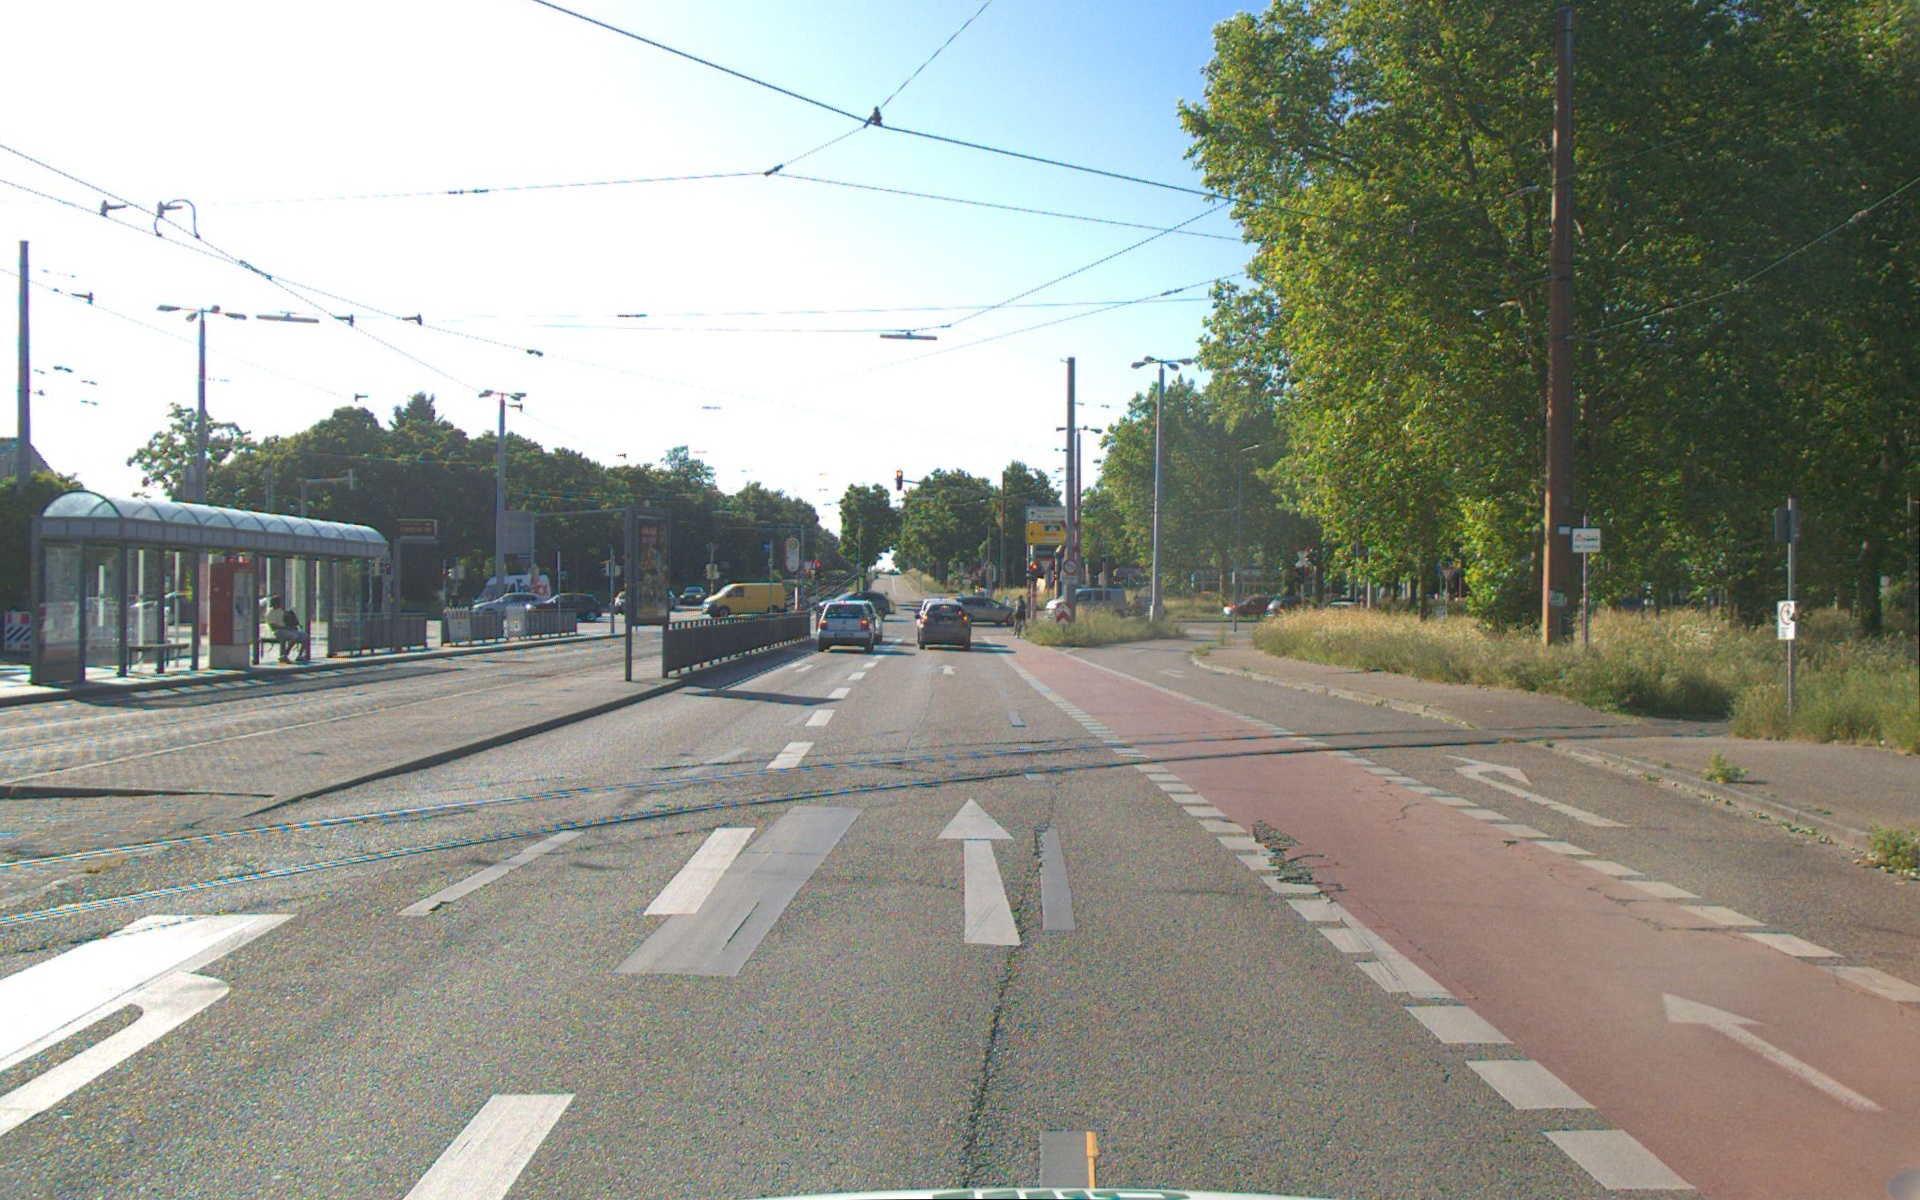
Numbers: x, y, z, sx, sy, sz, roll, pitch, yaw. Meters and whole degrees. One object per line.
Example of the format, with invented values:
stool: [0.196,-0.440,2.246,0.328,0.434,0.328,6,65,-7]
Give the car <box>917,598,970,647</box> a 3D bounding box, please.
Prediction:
car: [-0.567,0.705,53.645,1.635,1.487,3.585,1,0,-2]

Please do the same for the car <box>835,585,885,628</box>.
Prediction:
car: [-3.550,0.229,59.377,1.586,1.482,4.084,1,0,-1]

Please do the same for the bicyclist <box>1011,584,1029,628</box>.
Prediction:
bicyclist: [2.457,0.254,67.698,0.652,1.746,0.948,2,0,-1]

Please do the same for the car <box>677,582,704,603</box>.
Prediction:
car: [-22.077,-0.621,135.643,1.956,1.632,4.747,1,1,-8]

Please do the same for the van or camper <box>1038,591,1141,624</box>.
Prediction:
van or camper: [7.548,0.418,96.388,5.899,1.860,1.982,0,0,-28]

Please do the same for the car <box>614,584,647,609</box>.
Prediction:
car: [-21.202,-0.241,106.518,1.797,1.575,3.994,0,0,-7]

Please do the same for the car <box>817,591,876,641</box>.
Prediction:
car: [-3.371,0.467,49.494,1.586,1.442,3.350,0,0,-1]

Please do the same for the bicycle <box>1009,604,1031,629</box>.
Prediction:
bicycle: [2.443,0.667,67.776,0.707,1.006,2.875,2,0,-1]

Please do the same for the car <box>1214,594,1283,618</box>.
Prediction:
car: [17.664,0.356,101.141,3.948,1.427,1.598,0,0,-23]

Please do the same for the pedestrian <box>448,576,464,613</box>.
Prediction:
pedestrian: [-28.085,-0.297,92.168,0.735,2.049,0.789,0,0,-12]

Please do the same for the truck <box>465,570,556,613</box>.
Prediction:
truck: [-28.231,-0.541,104.171,1.952,2.610,6.825,0,0,20]

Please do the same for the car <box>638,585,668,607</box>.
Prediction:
car: [-21.806,-0.278,117.590,1.797,1.575,4.278,0,0,-7]

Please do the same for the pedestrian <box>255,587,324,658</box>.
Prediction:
pedestrian: [-14.108,0.468,34.840,1.039,1.478,1.007,0,0,-1]

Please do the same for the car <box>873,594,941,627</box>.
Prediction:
car: [-3.026,0.612,93.913,3.545,1.739,1.747,2,0,-12]

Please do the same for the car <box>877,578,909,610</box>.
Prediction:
car: [-4.539,-0.412,112.647,1.953,2.049,4.491,2,0,0]

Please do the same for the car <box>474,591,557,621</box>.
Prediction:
car: [-23.761,0.316,88.406,3.948,1.499,1.733,2,0,-32]

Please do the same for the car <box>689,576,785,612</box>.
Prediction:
car: [-12.739,-0.348,94.608,5.095,1.912,1.982,2,0,-28]
